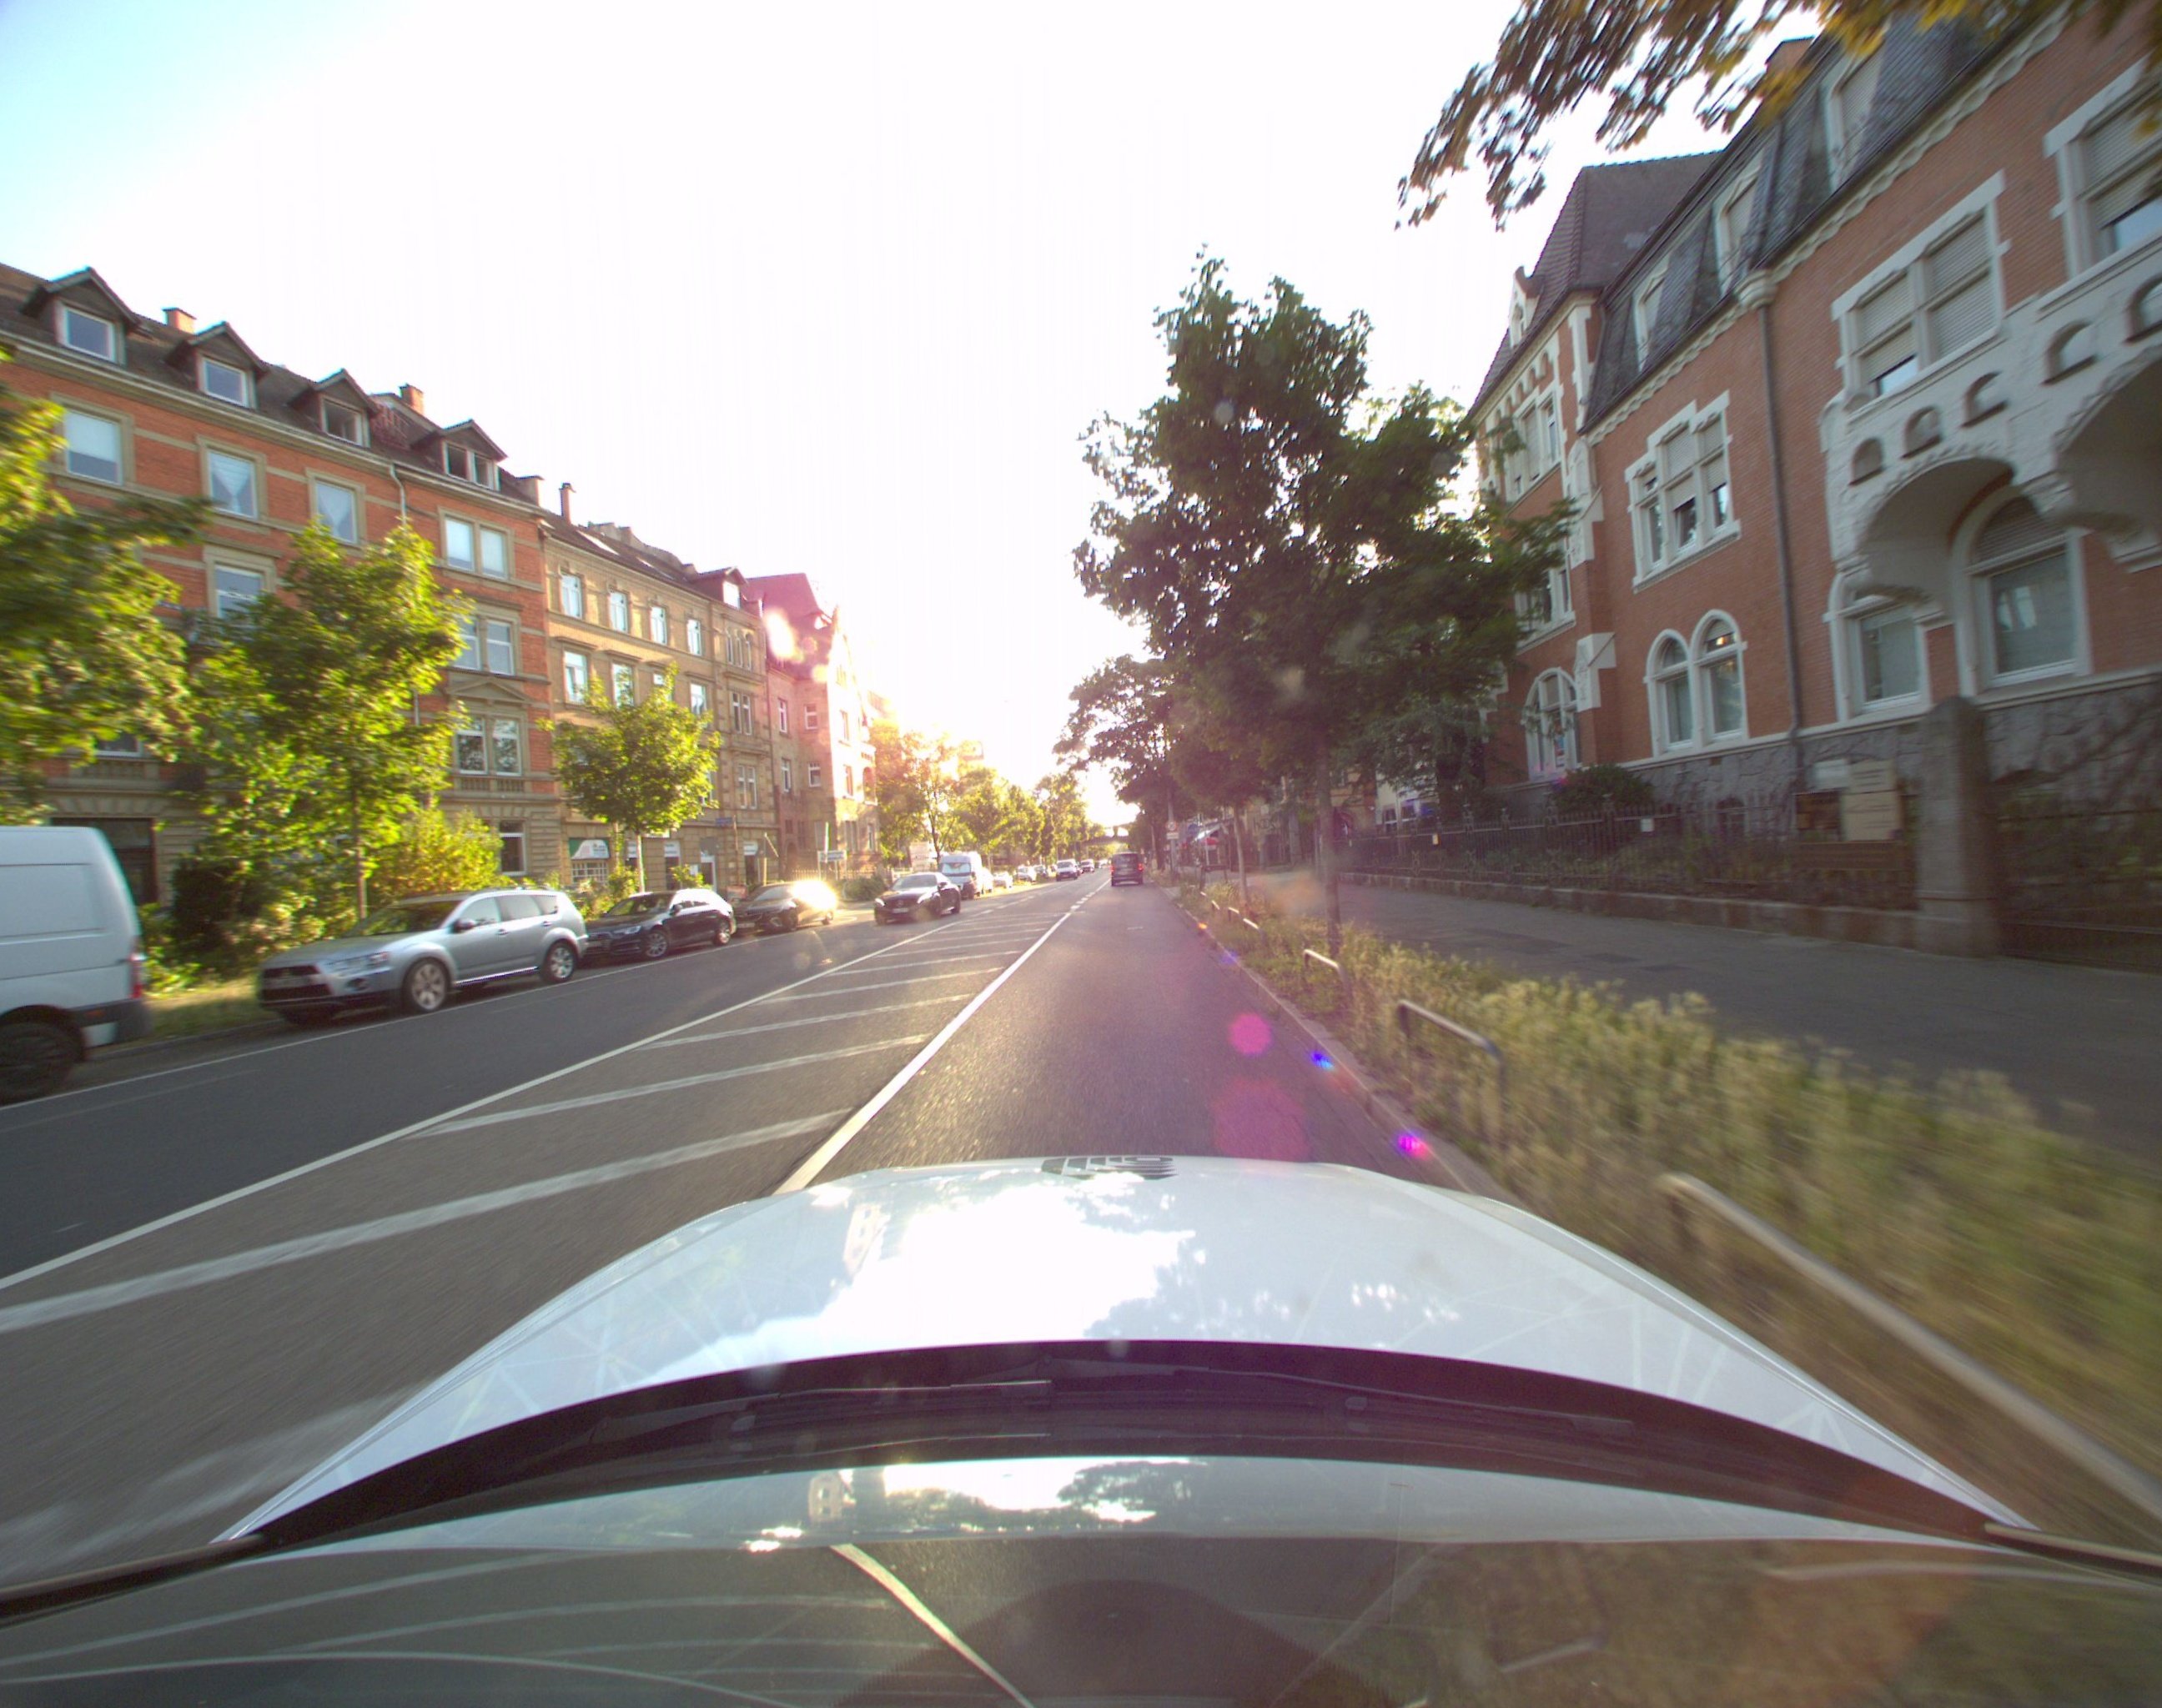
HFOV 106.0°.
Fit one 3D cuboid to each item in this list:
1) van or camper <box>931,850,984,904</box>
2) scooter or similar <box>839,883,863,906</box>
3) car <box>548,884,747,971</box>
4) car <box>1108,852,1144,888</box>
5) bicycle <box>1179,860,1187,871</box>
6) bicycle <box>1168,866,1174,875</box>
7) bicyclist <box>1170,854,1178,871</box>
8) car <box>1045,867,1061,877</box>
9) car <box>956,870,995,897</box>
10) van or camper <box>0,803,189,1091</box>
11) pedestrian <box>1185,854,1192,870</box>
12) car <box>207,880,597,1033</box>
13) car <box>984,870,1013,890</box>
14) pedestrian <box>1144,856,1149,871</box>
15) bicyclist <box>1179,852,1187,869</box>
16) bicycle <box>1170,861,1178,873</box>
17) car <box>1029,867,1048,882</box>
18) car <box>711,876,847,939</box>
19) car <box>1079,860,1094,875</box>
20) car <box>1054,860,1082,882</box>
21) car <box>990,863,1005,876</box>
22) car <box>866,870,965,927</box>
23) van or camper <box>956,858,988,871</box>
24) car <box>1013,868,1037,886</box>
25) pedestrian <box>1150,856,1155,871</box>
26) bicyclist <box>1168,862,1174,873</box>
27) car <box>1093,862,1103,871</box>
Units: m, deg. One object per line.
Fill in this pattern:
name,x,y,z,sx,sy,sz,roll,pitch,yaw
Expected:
van or camper,-6.770,1.222,45.126,1.988,2.669,6.035,-2,-1,-1
scooter or similar,-11.812,2.059,41.825,1.124,1.057,0.285,-4,-1,-45
car,-9.517,1.541,18.398,1.729,1.445,4.628,-4,-1,3
car,2.713,0.913,48.194,1.879,1.925,3.843,-5,-1,4
bicycle,9.177,1.028,73.402,0.515,1.040,2.090,-2,-1,3
bicycle,10.280,1.883,92.670,0.577,0.897,1.989,-2,-1,4
bicyclist,8.465,0.753,74.338,0.593,1.532,0.894,-2,-1,3
car,-4.364,2.697,125.877,1.985,1.414,4.241,-2,-1,3
car,-6.703,1.883,52.248,1.739,1.535,4.305,-2,-1,2
van or camper,-10.430,0.870,5.241,2.083,2.468,6.309,-5,-1,2
pedestrian,11.487,0.876,87.377,0.642,1.633,0.656,-2,-1,3
car,-9.843,1.355,12.446,1.858,1.645,4.574,-5,-1,3
car,-5.990,1.875,59.265,1.530,1.248,3.616,-2,-1,2
pedestrian,8.718,1.281,107.901,0.504,1.889,0.543,-2,-1,-12
bicyclist,9.198,0.574,73.474,0.593,1.532,0.894,-2,-1,3
bicycle,8.467,1.189,74.304,0.542,1.040,2.090,-2,-1,3
car,-4.484,2.159,86.824,1.631,1.385,4.002,-2,-1,2
car,-8.924,1.530,24.560,1.985,1.483,4.832,-4,-1,3
car,0.763,1.880,111.979,1.826,1.852,4.476,-5,-1,2
car,-1.208,1.589,77.276,1.985,1.831,5.175,-5,-1,4
car,-16.147,2.973,158.616,1.985,2.308,5.250,-2,-1,3
car,-4.930,1.281,24.945,1.758,1.402,4.549,-4,-1,3
van or camper,-23.677,2.238,177.120,6.539,2.522,2.450,-2,-1,1
car,-5.049,2.099,74.262,1.690,1.451,4.002,-2,-1,2
pedestrian,9.462,1.232,107.466,0.504,1.889,0.543,-2,-1,-12
bicyclist,10.274,1.548,92.746,0.583,1.236,1.113,-2,-1,3
car,3.215,2.452,155.990,1.672,1.530,4.003,-6,-1,3
